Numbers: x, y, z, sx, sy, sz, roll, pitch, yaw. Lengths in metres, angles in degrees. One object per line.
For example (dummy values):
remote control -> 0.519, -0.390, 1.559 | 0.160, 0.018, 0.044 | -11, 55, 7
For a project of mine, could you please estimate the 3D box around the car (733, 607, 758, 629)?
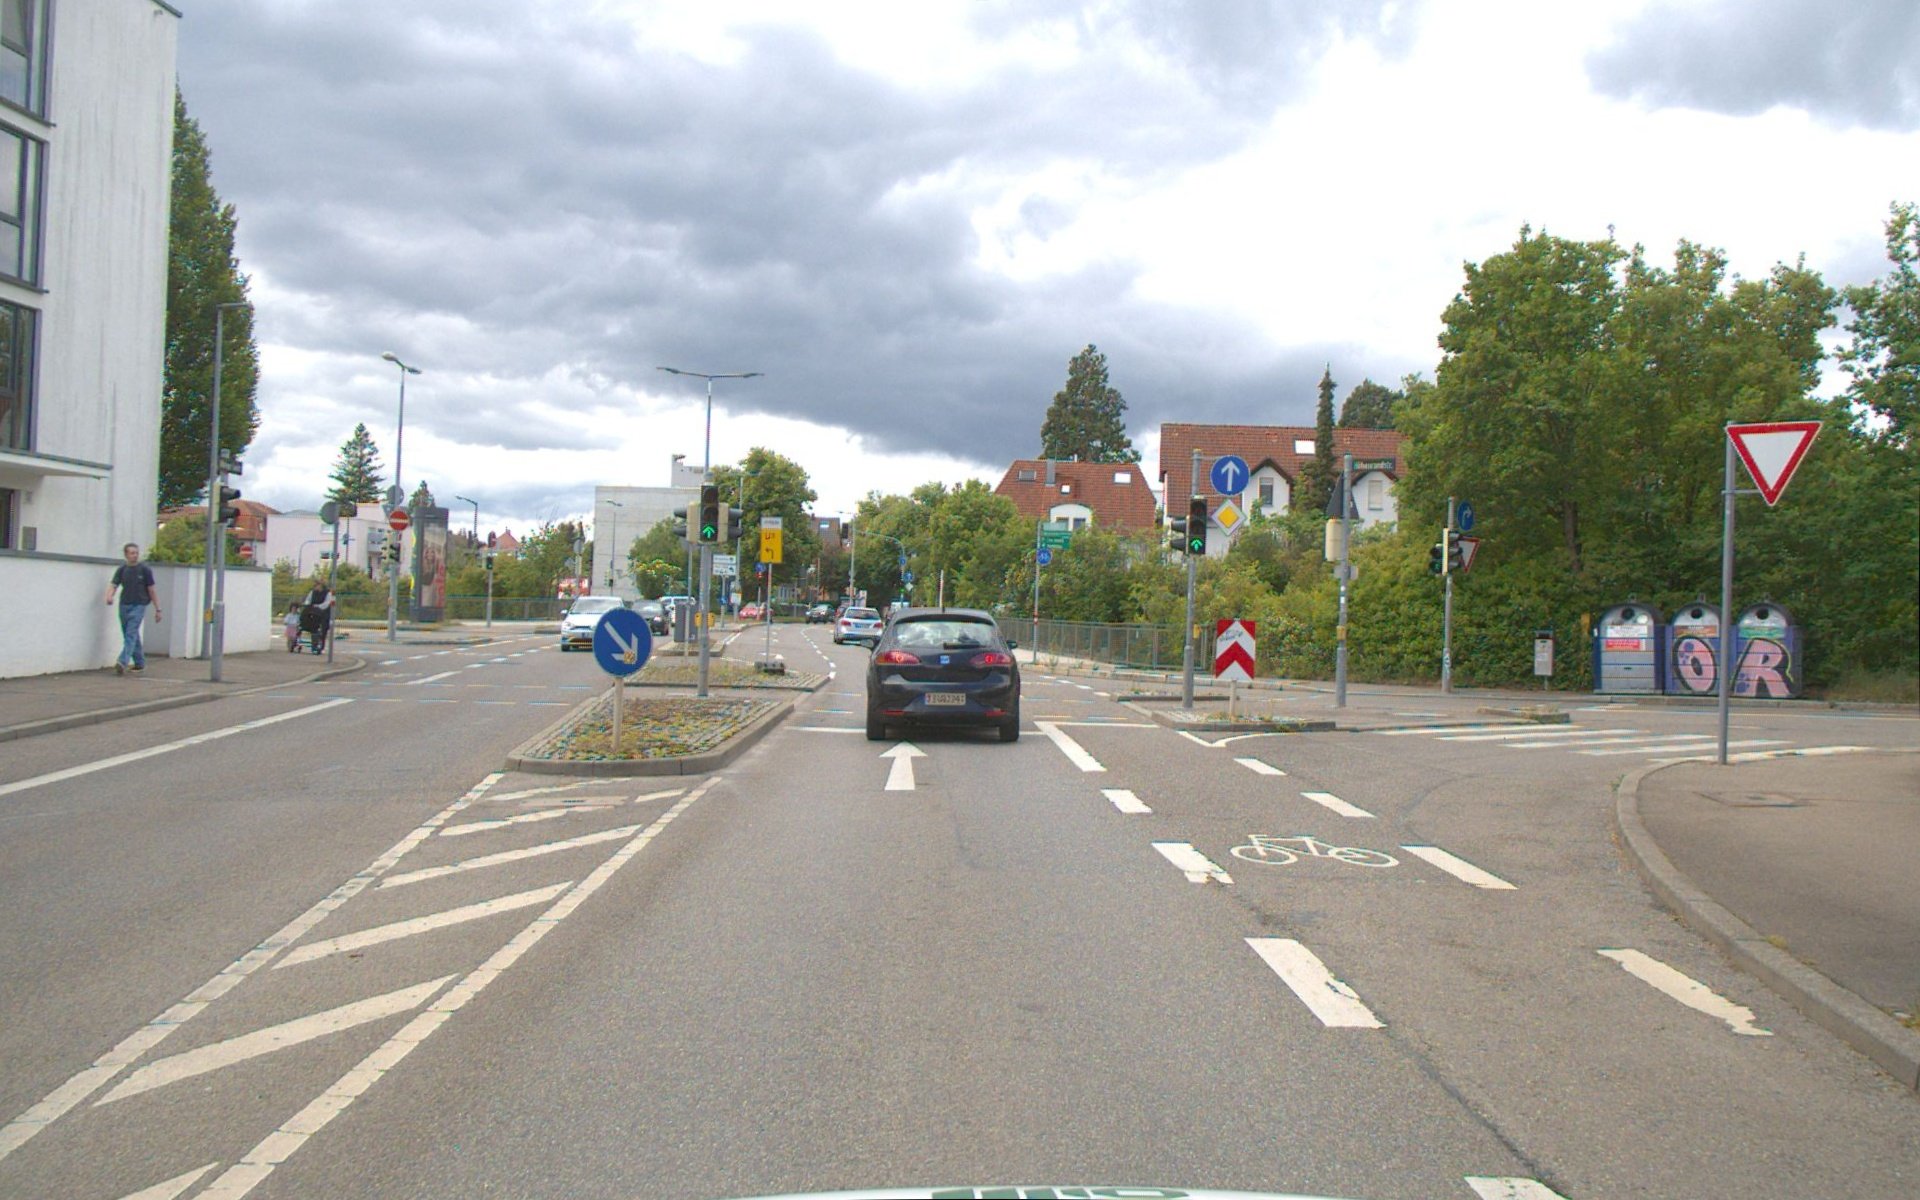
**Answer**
car -> -15.154, 1.288, 116.685 | 1.688, 1.473, 4.059 | 2, -1, -8

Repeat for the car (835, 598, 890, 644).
car -> -3.891, 0.813, 65.489 | 1.785, 1.729, 4.245 | 1, 0, -8

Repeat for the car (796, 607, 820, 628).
car -> -12.628, 1.457, 137.300 | 1.788, 1.655, 4.271 | 2, -1, -8

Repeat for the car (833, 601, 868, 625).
car -> -7.149, 0.830, 107.529 | 1.905, 1.507, 4.245 | 1, 0, -8

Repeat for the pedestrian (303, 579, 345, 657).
pedestrian -> -13.420, 0.372, 34.930 | 0.521, 1.569, 0.730 | 6, -1, -9

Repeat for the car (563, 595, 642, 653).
car -> -9.636, 0.624, 44.787 | 1.764, 1.469, 3.941 | 1, -1, -8

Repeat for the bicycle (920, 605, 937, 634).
bicycle -> -1.694, 1.055, 89.868 | 0.873, 1.537, 2.782 | 1, 0, -1

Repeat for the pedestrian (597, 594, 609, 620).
pedestrian -> -23.021, 0.455, 106.694 | 0.644, 1.662, 1.067 | 3, -1, -12

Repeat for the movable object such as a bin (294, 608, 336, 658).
movable object such as a bin -> -13.298, 0.671, 34.109 | 0.488, 0.976, 0.984 | 6, -1, -8

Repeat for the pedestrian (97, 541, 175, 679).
pedestrian -> -12.288, 0.157, 24.684 | 0.636, 1.981, 0.870 | 4, -1, -6

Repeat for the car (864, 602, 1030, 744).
car -> -0.217, 0.773, 19.301 | 1.724, 1.474, 3.712 | 1, 0, -3

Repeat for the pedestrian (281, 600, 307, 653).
pedestrian -> -14.006, 0.552, 34.785 | 0.319, 1.080, 0.443 | 5, -1, -8

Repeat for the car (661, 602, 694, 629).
car -> -15.569, 0.846, 91.279 | 1.612, 1.433, 3.812 | 2, -1, -8

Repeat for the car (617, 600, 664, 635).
car -> -13.104, 0.707, 67.925 | 1.688, 1.415, 3.911 | 0, 0, -8
